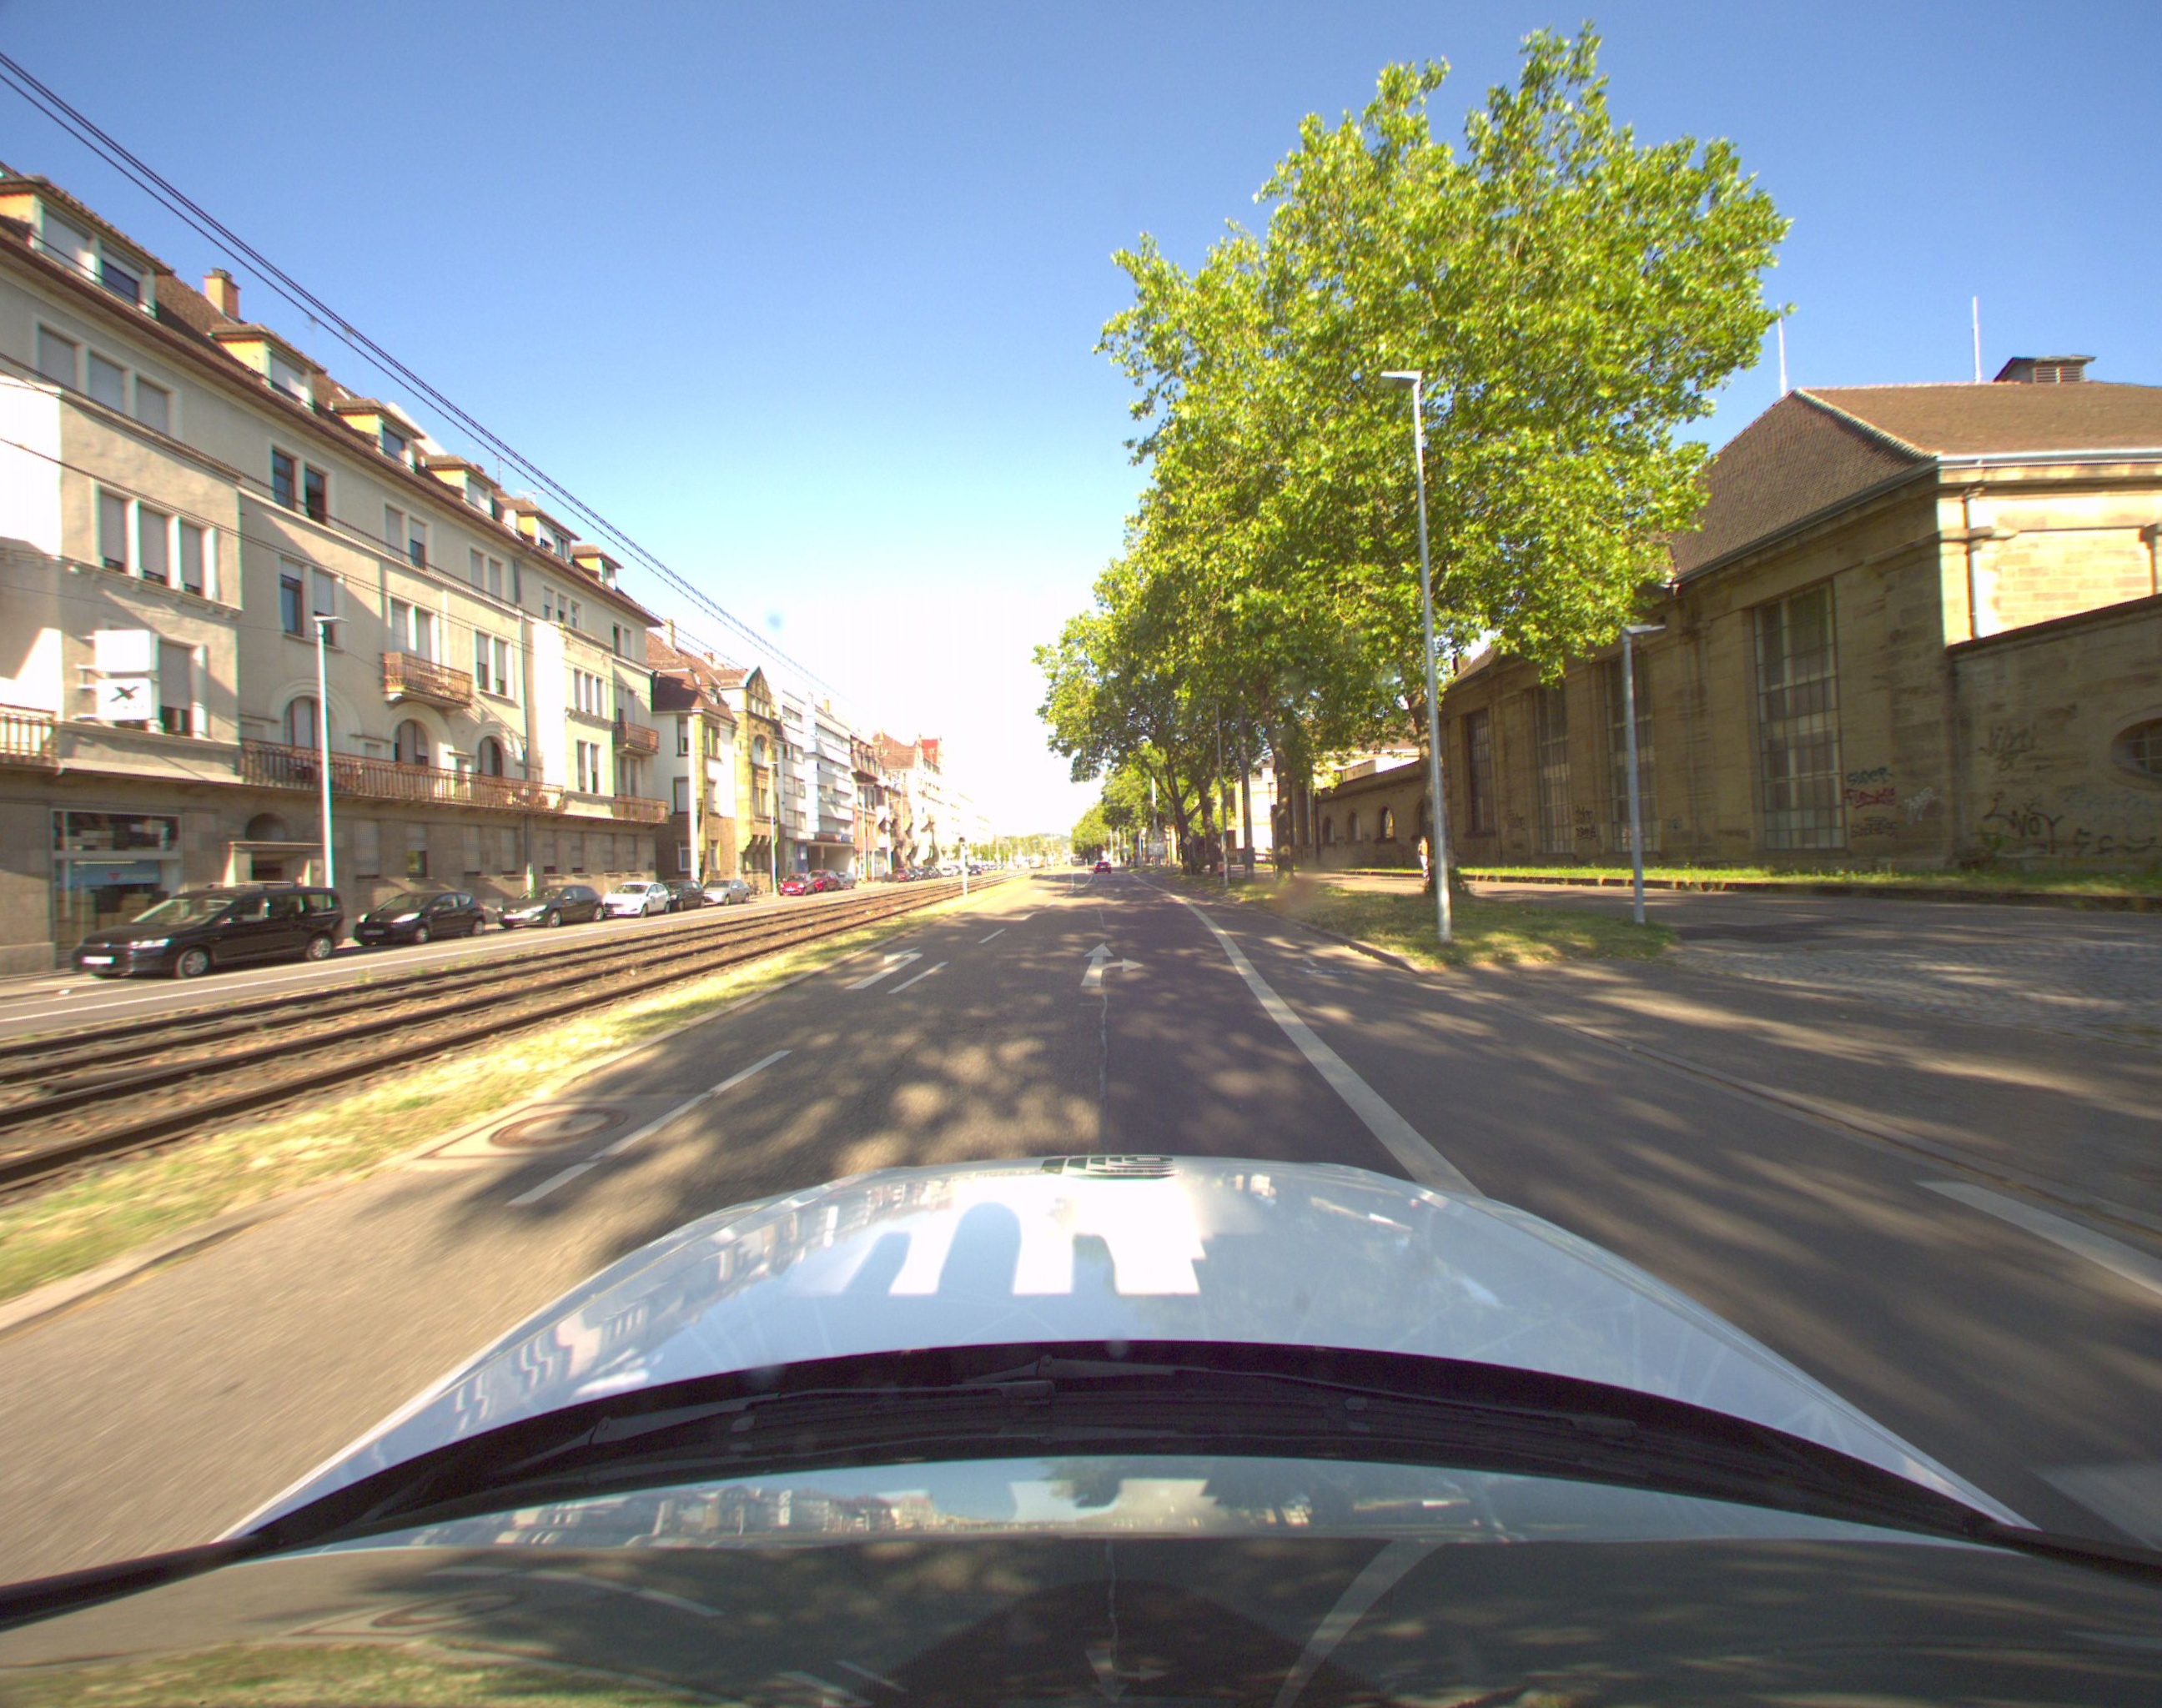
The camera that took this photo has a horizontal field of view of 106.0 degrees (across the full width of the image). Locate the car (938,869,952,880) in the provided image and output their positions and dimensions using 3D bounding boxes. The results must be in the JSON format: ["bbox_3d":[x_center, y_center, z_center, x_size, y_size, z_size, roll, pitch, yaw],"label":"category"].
[{"bbox_3d":[-20.420,3.077,122.548,1.791,1.510,3.993,1,-1,-5],"label":"car"}]

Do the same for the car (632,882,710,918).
[{"bbox_3d":[-19.363,2.131,38.658,1.630,1.469,4.157,0,-1,-1],"label":"car"}]

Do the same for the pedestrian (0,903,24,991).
[{"bbox_3d":[-21.329,1.824,15.758,0.587,1.697,0.858,-1,-2,1],"label":"pedestrian"}]

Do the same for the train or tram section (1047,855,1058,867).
[{"bbox_3d":[-8.513,2.080,242.111,2.816,3.451,9.063,-3,-1,1],"label":"train or tram section"}]

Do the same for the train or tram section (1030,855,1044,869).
[{"bbox_3d":[-11.290,2.083,210.290,2.816,3.451,9.061,-3,-1,0],"label":"train or tram section"}]

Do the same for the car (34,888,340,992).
[{"bbox_3d":[-19.105,1.740,17.782,1.857,1.786,4.399,-1,0,-1],"label":"car"}]

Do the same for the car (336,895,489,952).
[{"bbox_3d":[-19.525,1.994,23.980,1.623,1.391,3.506,1,-1,-2],"label":"car"}]

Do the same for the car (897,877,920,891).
[{"bbox_3d":[-19.921,3.399,94.055,1.789,1.510,3.998,1,-1,-1],"label":"car"}]

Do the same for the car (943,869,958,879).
[{"bbox_3d":[-20.485,3.141,128.055,1.789,1.510,4.182,1,-1,-2],"label":"car"}]

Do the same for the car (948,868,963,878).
[{"bbox_3d":[-20.551,3.106,133.625,1.789,1.719,4.182,1,-1,-2],"label":"car"}]

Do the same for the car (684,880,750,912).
[{"bbox_3d":[-19.479,2.222,43.767,1.630,1.469,4.158,-1,0,0],"label":"car"}]

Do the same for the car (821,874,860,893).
[{"bbox_3d":[-19.569,2.383,66.566,1.828,1.391,4.679,-2,-1,-1],"label":"car"}]

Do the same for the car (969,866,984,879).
[{"bbox_3d":[-15.010,2.639,117.163,1.631,1.601,4.155,-4,-1,-2],"label":"car"}]

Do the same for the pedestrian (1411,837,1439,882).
[{"bbox_3d":[13.315,0.221,31.514,0.606,1.681,0.635,-6,-1,-3],"label":"pedestrian"}]

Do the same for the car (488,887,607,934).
[{"bbox_3d":[-19.317,2.008,29.731,1.630,1.469,4.157,1,-1,-1],"label":"car"}]

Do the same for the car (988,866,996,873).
[{"bbox_3d":[-21.861,3.767,199.780,1.790,1.510,3.995,-3,-1,-3],"label":"car"}]

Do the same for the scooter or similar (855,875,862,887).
[{"bbox_3d":[-23.152,2.824,84.844,0.390,1.205,1.200,0,-1,0],"label":"scooter or similar"}]

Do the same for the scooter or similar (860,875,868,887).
[{"bbox_3d":[-22.589,2.832,84.782,0.390,1.205,1.200,0,-1,0],"label":"scooter or similar"}]

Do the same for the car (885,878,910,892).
[{"bbox_3d":[-20.005,3.383,88.890,1.789,1.460,4.263,1,-1,-1],"label":"car"}]

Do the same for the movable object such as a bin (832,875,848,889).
[{"bbox_3d":[-24.625,2.834,83.198,1.410,1.371,0.633,-2,-1,-7],"label":"movable object such as a bin"}]

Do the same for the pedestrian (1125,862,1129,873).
[{"bbox_3d":[7.222,2.087,128.516,0.584,1.728,0.652,-1,-1,12],"label":"pedestrian"}]

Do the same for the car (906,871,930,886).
[{"bbox_3d":[-19.816,2.956,99.162,1.787,1.754,4.457,1,-1,2],"label":"car"}]

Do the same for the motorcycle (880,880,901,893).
[{"bbox_3d":[-20.073,3.403,85.697,2.072,1.327,0.836,1,-1,-17],"label":"motorcycle"}]

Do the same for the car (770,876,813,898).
[{"bbox_3d":[-19.680,2.206,55.525,1.830,1.391,4.028,1,-1,-5],"label":"car"}]

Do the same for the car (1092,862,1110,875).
[{"bbox_3d":[2.262,1.615,93.096,1.828,1.391,4.156,-2,-1,-1],"label":"car"}]

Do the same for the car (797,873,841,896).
[{"bbox_3d":[-19.620,2.250,61.092,1.827,1.558,4.352,-1,-1,0],"label":"car"}]

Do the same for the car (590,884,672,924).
[{"bbox_3d":[-18.892,2.063,34.391,1.634,1.469,3.973,-1,-1,-7],"label":"car"}]
